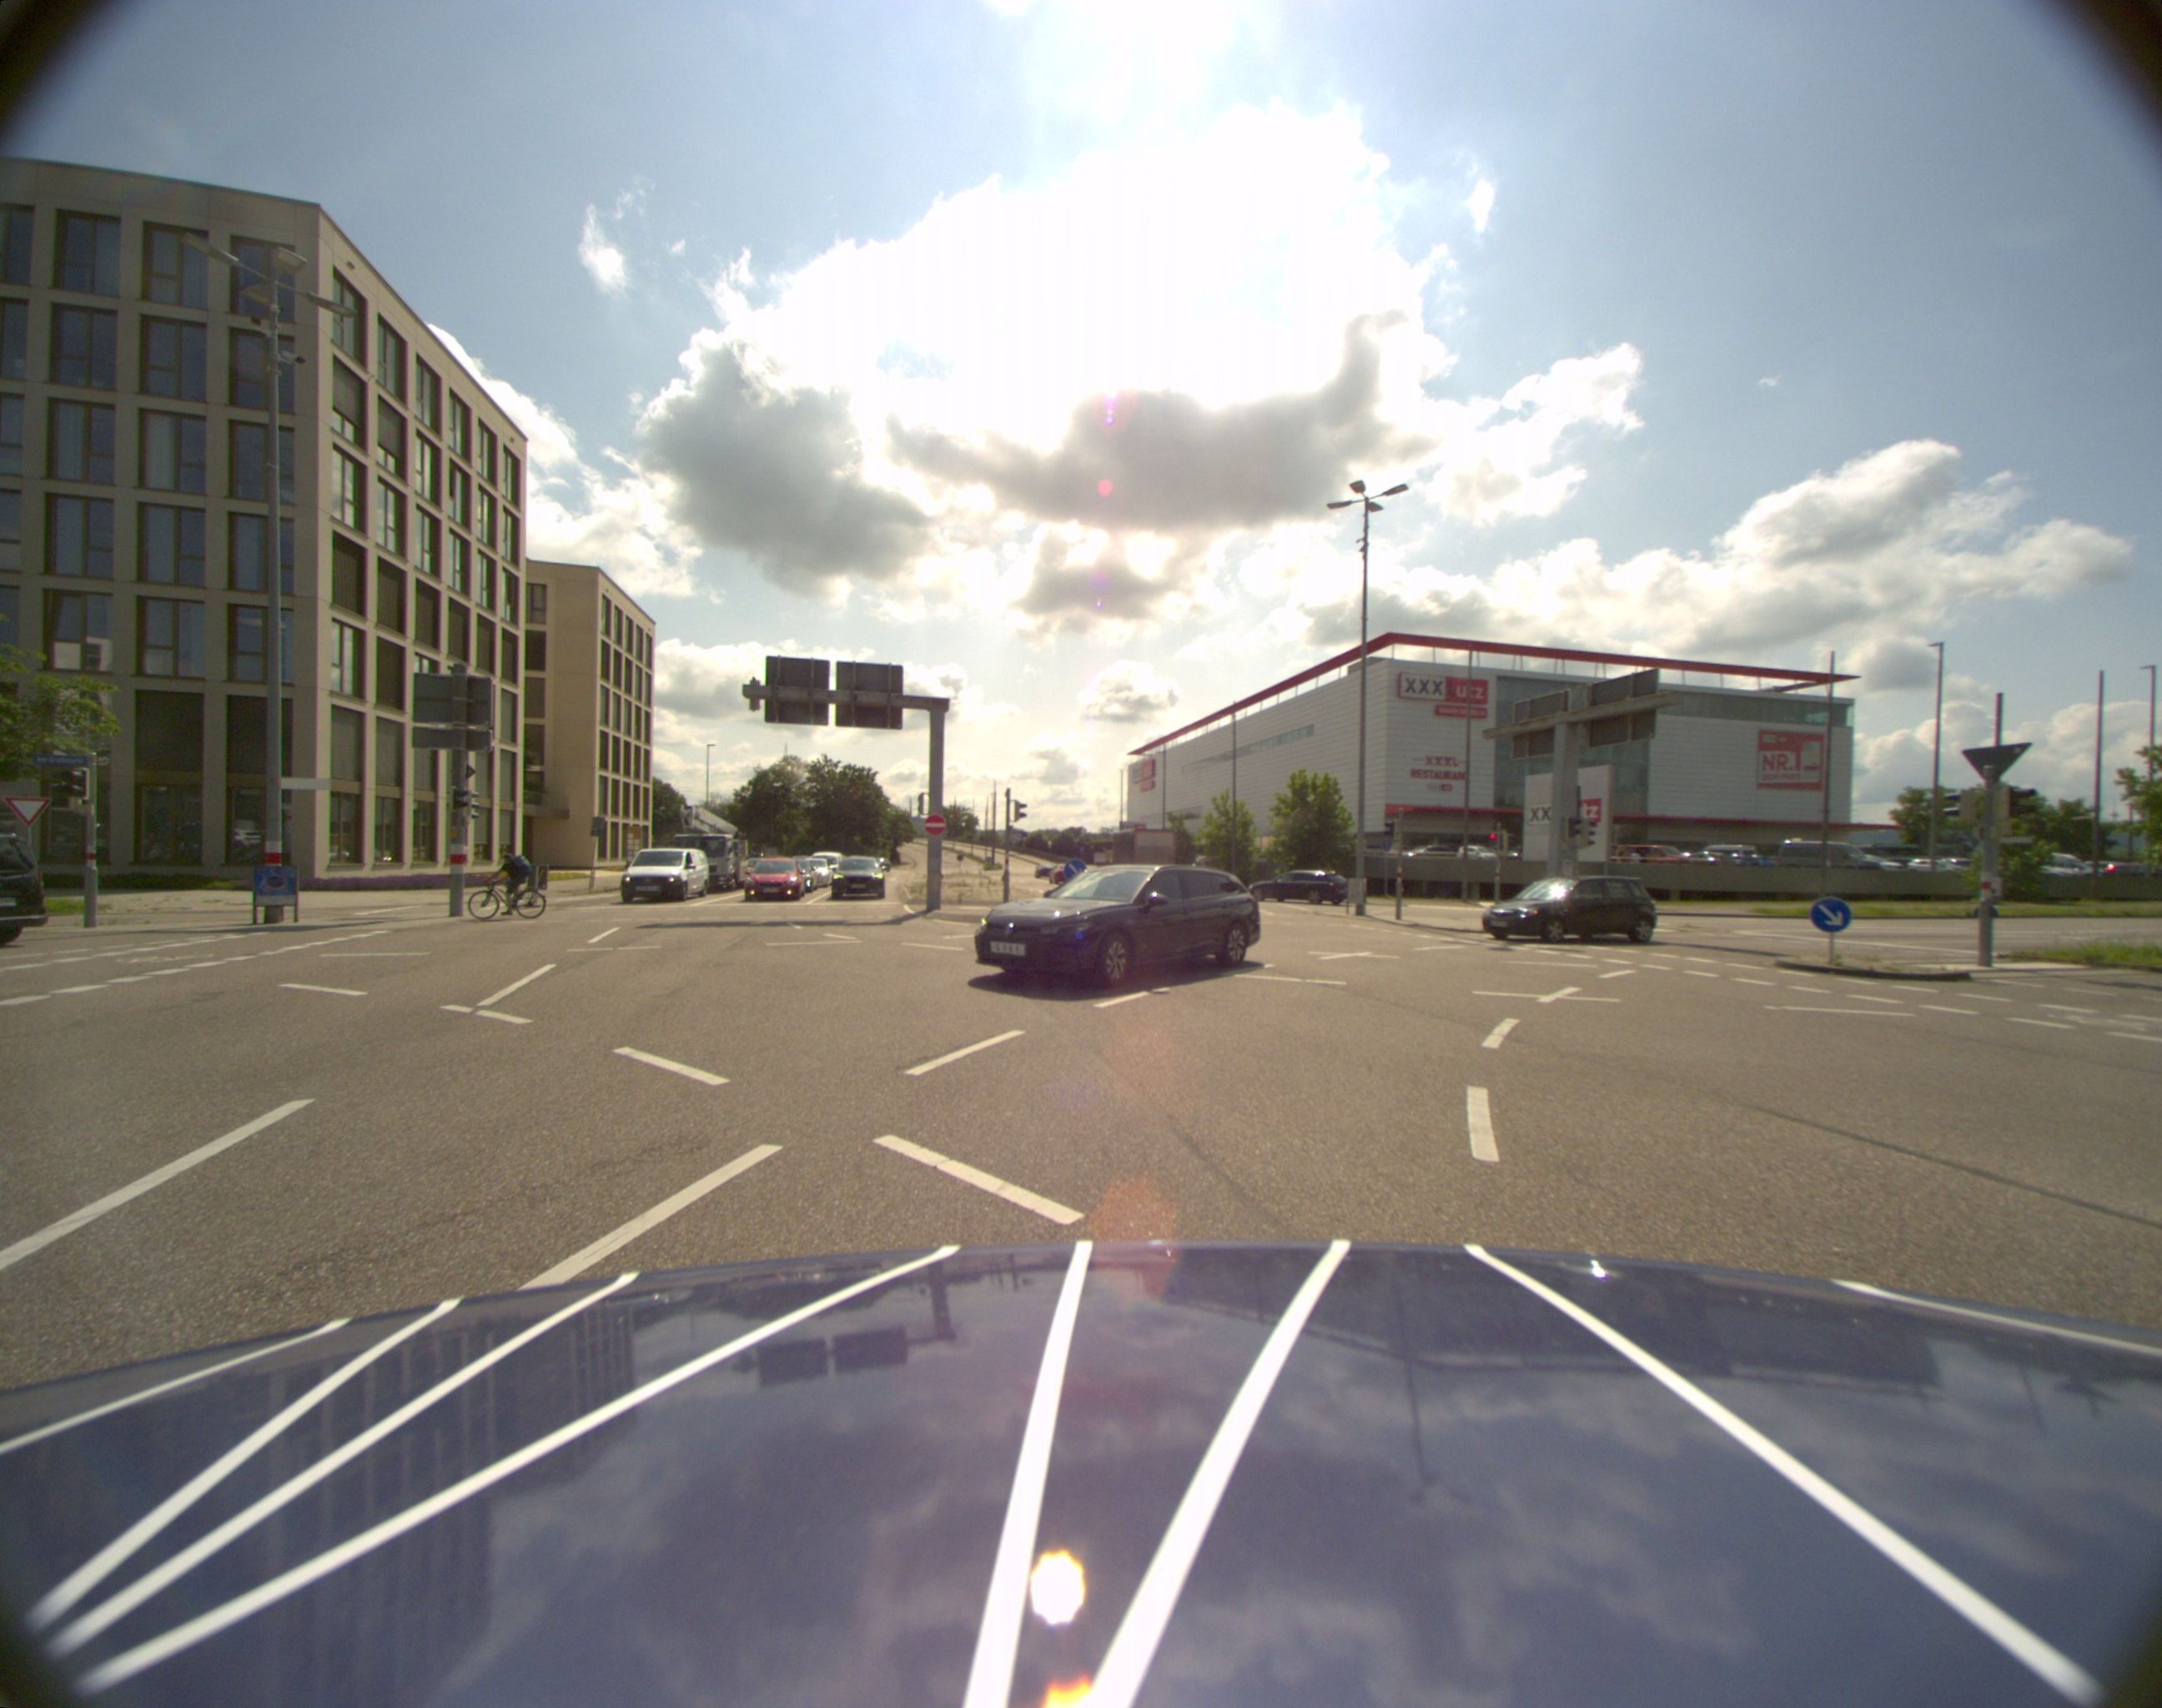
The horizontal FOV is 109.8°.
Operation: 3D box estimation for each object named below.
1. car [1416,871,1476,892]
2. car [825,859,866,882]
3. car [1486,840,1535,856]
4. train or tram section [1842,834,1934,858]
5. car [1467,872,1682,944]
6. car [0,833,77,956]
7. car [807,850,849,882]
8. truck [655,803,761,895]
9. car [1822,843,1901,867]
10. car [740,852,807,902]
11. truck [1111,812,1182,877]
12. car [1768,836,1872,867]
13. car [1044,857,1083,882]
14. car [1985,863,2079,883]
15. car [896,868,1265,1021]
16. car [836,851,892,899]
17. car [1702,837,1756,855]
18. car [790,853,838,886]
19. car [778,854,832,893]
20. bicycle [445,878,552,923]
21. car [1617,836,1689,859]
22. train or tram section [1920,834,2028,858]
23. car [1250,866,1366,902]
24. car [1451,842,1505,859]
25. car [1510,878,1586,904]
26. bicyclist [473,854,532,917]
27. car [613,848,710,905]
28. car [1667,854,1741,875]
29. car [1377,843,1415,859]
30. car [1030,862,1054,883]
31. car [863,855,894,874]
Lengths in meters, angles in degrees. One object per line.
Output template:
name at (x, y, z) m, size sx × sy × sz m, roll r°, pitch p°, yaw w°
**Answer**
car at (31.604, 2.331, 65.846) m, size 4.365 × 1.739 × 1.998 m, roll 0°, pitch 0°, yaw -14°
car at (-19.584, 1.361, 63.394) m, size 1.826 × 1.826 × 4.716 m, roll 0°, pitch -1°, yaw 1°
car at (41.917, -0.532, 74.314) m, size 1.560 × 1.462 × 4.418 m, roll 0°, pitch 0°, yaw -13°
train or tram section at (167.864, -1.584, 158.413) m, size 3.733 × 4.533 × 13.094 m, roll 0°, pitch -1°, yaw -12°
car at (11.408, 1.205, 17.659) m, size 4.270 × 1.521 × 1.606 m, roll 0°, pitch 0°, yaw -11°
car at (-18.636, 0.610, 11.475) m, size 4.000 × 1.893 × 1.828 m, roll 0°, pitch 0°, yaw -10°
car at (-15.014, 0.719, 45.350) m, size 1.828 × 1.826 × 4.442 m, roll 0°, pitch -1°, yaw -11°
truck at (-16.491, -0.097, 34.339) m, size 2.677 × 3.533 × 9.771 m, roll 0°, pitch -1°, yaw -16°
car at (60.785, 0.092, 59.259) m, size 1.750 × 1.783 × 3.997 m, roll 0°, pitch -1°, yaw -9°
car at (-10.836, 0.797, 27.028) m, size 1.829 × 1.617 × 4.206 m, roll 0°, pitch -1°, yaw -17°
truck at (4.179, -0.505, 50.894) m, size 3.222 × 4.003 × 9.068 m, roll 0°, pitch -1°, yaw -5°
car at (57.561, -0.173, 59.386) m, size 1.750 × 2.269 × 5.793 m, roll 0°, pitch -1°, yaw -13°
car at (-1.274, 1.079, 53.568) m, size 1.866 × 1.645 × 4.214 m, roll -1°, pitch -1°, yaw -14°
car at (78.086, 1.553, 62.481) m, size 1.955 × 1.596 × 4.419 m, roll 0°, pitch 0°, yaw -11°
car at (0.317, 0.931, 10.001) m, size 1.809 × 1.469 × 5.215 m, roll 0°, pitch -1°, yaw 42°
car at (-8.087, 0.764, 28.238) m, size 1.829 × 1.617 × 4.206 m, roll 0°, pitch -1°, yaw -17°
car at (67.715, -0.812, 79.495) m, size 1.917 × 1.739 × 3.997 m, roll 0°, pitch -1°, yaw -11°
car at (-13.671, 0.792, 39.155) m, size 1.829 × 1.617 × 4.208 m, roll 0°, pitch -1°, yaw -13°
car at (-12.065, 0.840, 33.426) m, size 1.829 × 1.617 × 4.207 m, roll 0°, pitch -1°, yaw -15°
bicycle at (-13.920, 1.102, 18.207) m, size 1.977 × 1.005 × 0.649 m, roll 0°, pitch -1°, yaw -6°
car at (45.055, -0.485, 59.947) m, size 1.919 × 1.739 × 4.181 m, roll 0°, pitch -1°, yaw -24°
train or tram section at (170.767, -1.565, 145.609) m, size 3.733 × 4.346 × 13.089 m, roll 0°, pitch 1°, yaw -12°
car at (9.977, 1.276, 33.719) m, size 1.783 × 1.469 × 4.665 m, roll 0°, pitch -1°, yaw -42°
car at (36.092, -0.266, 69.151) m, size 1.956 × 1.462 × 4.418 m, roll 0°, pitch 0°, yaw -13°
car at (32.519, 2.566, 52.909) m, size 4.365 × 1.739 × 1.998 m, roll 0°, pitch 0°, yaw -14°
bicyclist at (-13.850, 0.747, 18.212) m, size 0.915 × 1.468 × 0.638 m, roll 0°, pitch -1°, yaw -7°
car at (-14.775, 0.765, 27.051) m, size 2.001 × 1.826 × 4.986 m, roll 0°, pitch -1°, yaw -17°
car at (50.334, 0.849, 61.545) m, size 1.955 × 1.596 × 4.419 m, roll 0°, pitch 0°, yaw -11°
car at (34.970, -0.302, 84.482) m, size 1.560 × 1.813 × 4.418 m, roll 0°, pitch 0°, yaw -13°
car at (-3.544, 1.670, 68.610) m, size 1.865 × 1.644 × 4.220 m, roll 1°, pitch -5°, yaw -7°
car at (-20.462, 1.087, 77.024) m, size 1.826 × 1.826 × 4.447 m, roll 0°, pitch -1°, yaw 1°
